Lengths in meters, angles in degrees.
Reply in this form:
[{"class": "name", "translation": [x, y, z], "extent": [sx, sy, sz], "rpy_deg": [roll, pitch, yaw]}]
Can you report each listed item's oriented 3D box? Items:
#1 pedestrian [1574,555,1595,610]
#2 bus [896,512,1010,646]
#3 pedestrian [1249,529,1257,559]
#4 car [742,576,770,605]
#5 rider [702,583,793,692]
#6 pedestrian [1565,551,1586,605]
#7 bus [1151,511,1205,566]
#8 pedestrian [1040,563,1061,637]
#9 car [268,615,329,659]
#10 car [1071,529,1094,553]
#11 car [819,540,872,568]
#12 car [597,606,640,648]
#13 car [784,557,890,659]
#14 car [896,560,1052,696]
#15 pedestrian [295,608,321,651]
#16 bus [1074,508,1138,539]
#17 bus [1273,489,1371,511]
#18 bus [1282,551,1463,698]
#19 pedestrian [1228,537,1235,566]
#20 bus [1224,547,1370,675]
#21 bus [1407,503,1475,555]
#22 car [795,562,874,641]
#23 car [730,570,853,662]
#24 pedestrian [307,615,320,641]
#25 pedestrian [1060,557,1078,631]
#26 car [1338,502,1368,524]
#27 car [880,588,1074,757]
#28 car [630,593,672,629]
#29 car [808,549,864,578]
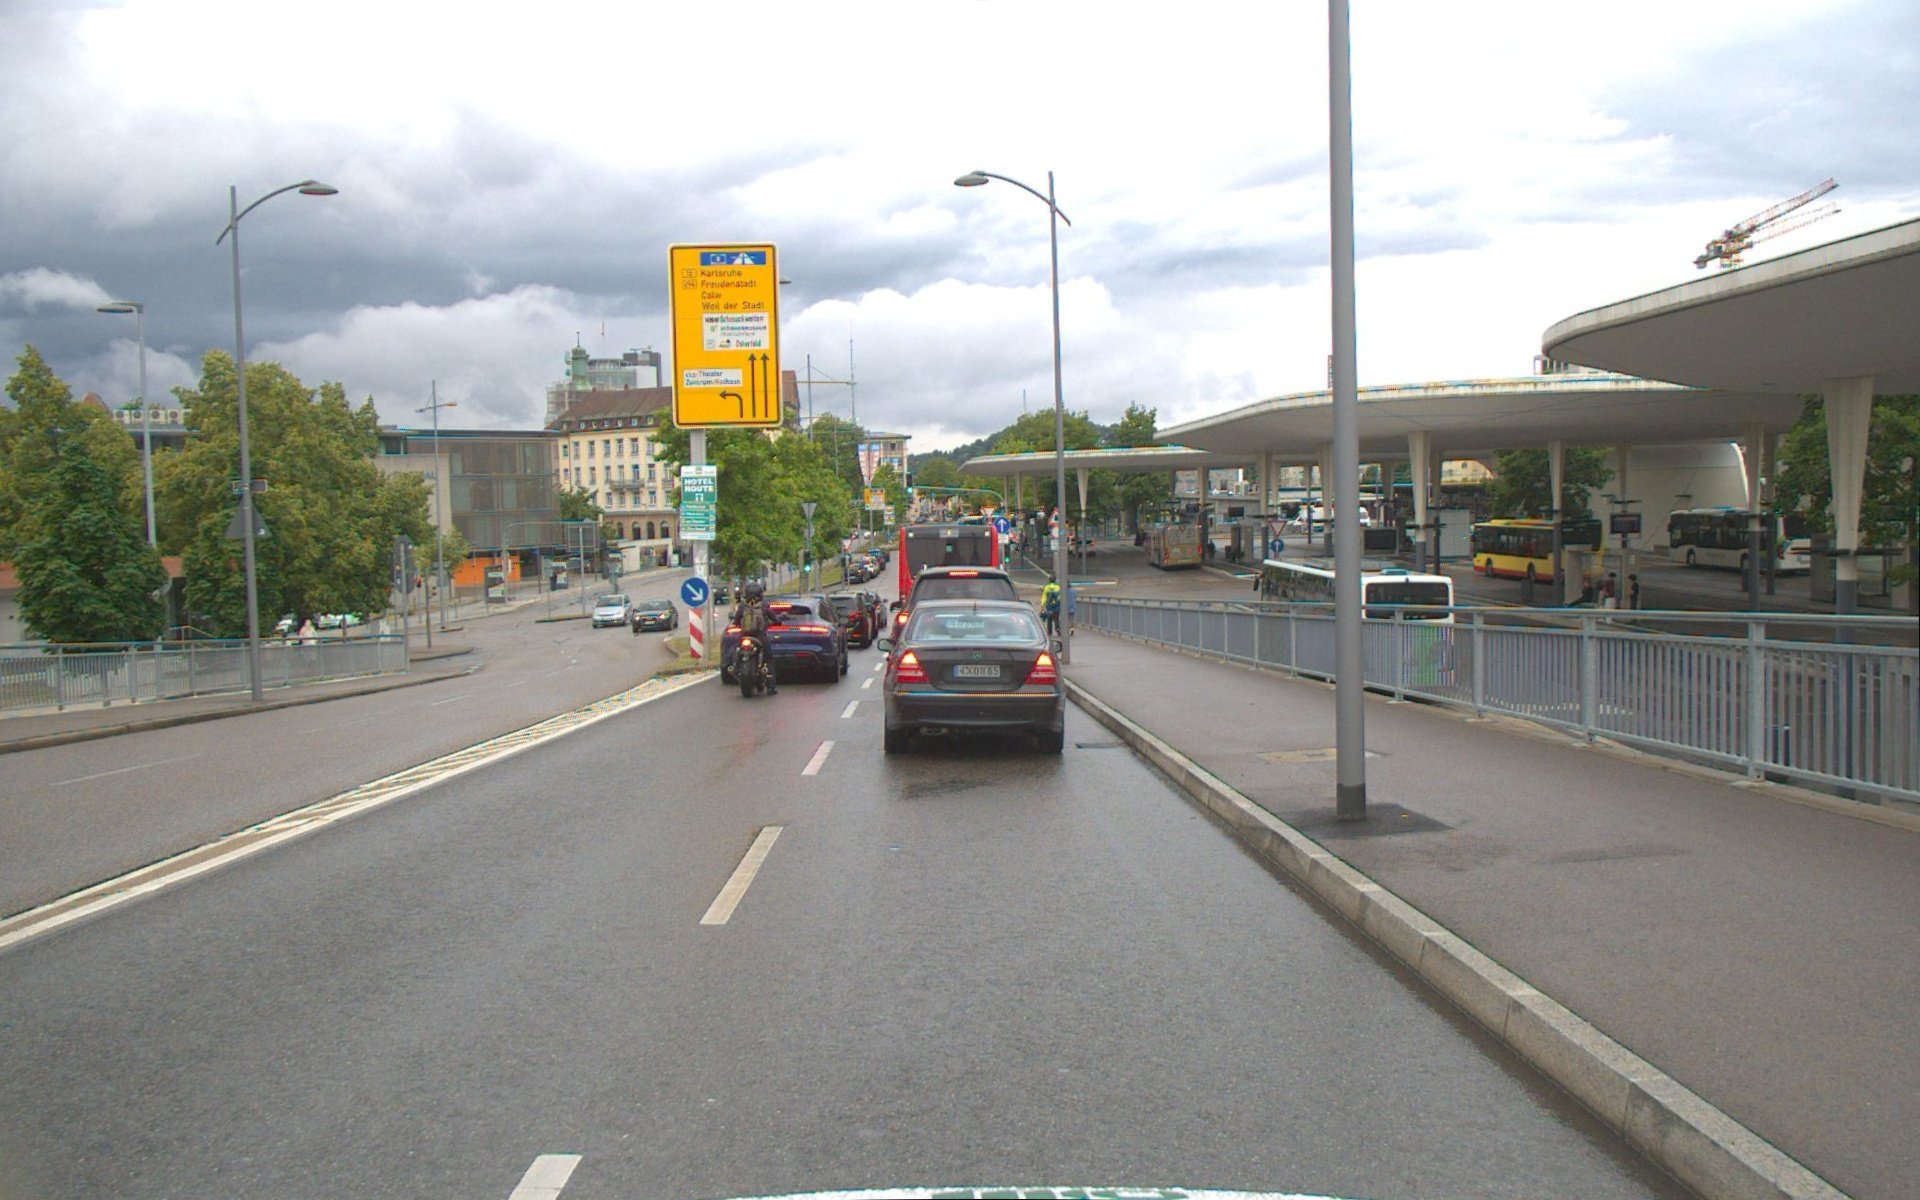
[{"class": "pedestrian", "translation": [23.500, -0.660, 62.257], "extent": [0.532, 2.048, 0.579], "rpy_deg": [-2, 1, 0]}, {"class": "bus", "translation": [-0.259, -0.576, 45.348], "extent": [2.770, 3.245, 10.307], "rpy_deg": [0, 1, -1]}, {"class": "pedestrian", "translation": [20.411, -3.908, 115.068], "extent": [0.415, 2.049, 0.483], "rpy_deg": [-2, -1, 1]}, {"class": "car", "translation": [-15.086, -0.673, 122.251], "extent": [1.956, 2.049, 4.195], "rpy_deg": [-2, 0, -7]}, {"class": "rider", "translation": [-3.073, 0.507, 24.170], "extent": [0.862, 1.497, 2.197], "rpy_deg": [0, 1, 5]}, {"class": "pedestrian", "translation": [23.640, -0.856, 63.571], "extent": [0.532, 2.048, 0.579], "rpy_deg": [-2, 1, 0]}, {"class": "bus", "translation": [15.501, -4.300, 118.169], "extent": [3.112, 3.663, 10.516], "rpy_deg": [-2, 1, 4]}, {"class": "pedestrian", "translation": [2.523, 0.005, 46.129], "extent": [0.479, 2.049, 0.470], "rpy_deg": [-2, -1, 1]}, {"class": "car", "translation": [-35.297, 1.979, 88.208], "extent": [1.979, 2.048, 3.948], "rpy_deg": [3, 1, -37]}, {"class": "car", "translation": [10.637, -5.105, 143.627], "extent": [1.951, 2.048, 4.003], "rpy_deg": [-2, 1, 5]}, {"class": "car", "translation": [-9.003, -3.596, 130.332], "extent": [3.903, 2.048, 2.001], "rpy_deg": [-2, 1, 3]}, {"class": "car", "translation": [-18.308, 1.419, 88.766], "extent": [1.956, 2.048, 3.993], "rpy_deg": [-2, 0, -8]}, {"class": "car", "translation": [-2.566, 0.122, 35.268], "extent": [1.953, 2.041, 4.000], "rpy_deg": [0, 1, 0]}, {"class": "car", "translation": [0.285, 0.315, 22.961], "extent": [1.788, 1.716, 4.003], "rpy_deg": [0, 1, 6]}, {"class": "pedestrian", "translation": [-22.860, 1.032, 58.016], "extent": [0.634, 1.433, 0.531], "rpy_deg": [-2, 2, 2]}, {"class": "bus", "translation": [17.349, -9.067, 196.974], "extent": [7.057, 3.455, 3.080], "rpy_deg": [-2, 2, -5]}, {"class": "bus", "translation": [38.552, -10.643, 176.200], "extent": [9.967, 2.048, 2.168], "rpy_deg": [-2, 1, -4]}, {"class": "bus", "translation": [10.864, 0.499, 44.338], "extent": [2.594, 3.291, 7.069], "rpy_deg": [0, 4, -4]}, {"class": "pedestrian", "translation": [19.457, -3.489, 118.547], "extent": [0.415, 2.048, 0.483], "rpy_deg": [-2, 1, 1]}, {"class": "bus", "translation": [10.345, 0.217, 51.440], "extent": [2.594, 3.291, 7.069], "rpy_deg": [-2, 5, -4]}, {"class": "bus", "translation": [32.176, -4.752, 110.932], "extent": [2.546, 3.265, 6.996], "rpy_deg": [-2, 2, 1]}, {"class": "car", "translation": [-3.368, 0.007, 45.014], "extent": [1.953, 2.041, 3.999], "rpy_deg": [0, 1, -2]}, {"class": "car", "translation": [-2.802, 0.222, 28.284], "extent": [1.724, 1.461, 4.000], "rpy_deg": [0, 1, -1]}, {"class": "pedestrian", "translation": [-22.753, 0.979, 58.184], "extent": [0.294, 0.888, 0.298], "rpy_deg": [-2, 2, 2]}, {"class": "pedestrian", "translation": [3.050, -0.163, 46.173], "extent": [0.415, 2.049, 0.483], "rpy_deg": [-2, -1, 1]}, {"class": "car", "translation": [39.033, -8.607, 164.398], "extent": [1.953, 2.048, 4.000], "rpy_deg": [-2, 2, -1]}, {"class": "car", "translation": [0.132, 0.622, 16.108], "extent": [1.671, 1.444, 3.725], "rpy_deg": [0, 0, -1]}, {"class": "car", "translation": [-15.090, 0.521, 80.975], "extent": [1.799, 1.553, 4.586], "rpy_deg": [-2, 2, -8]}, {"class": "car", "translation": [-9.299, -2.753, 124.238], "extent": [3.903, 2.048, 2.001], "rpy_deg": [-2, 1, 3]}]
